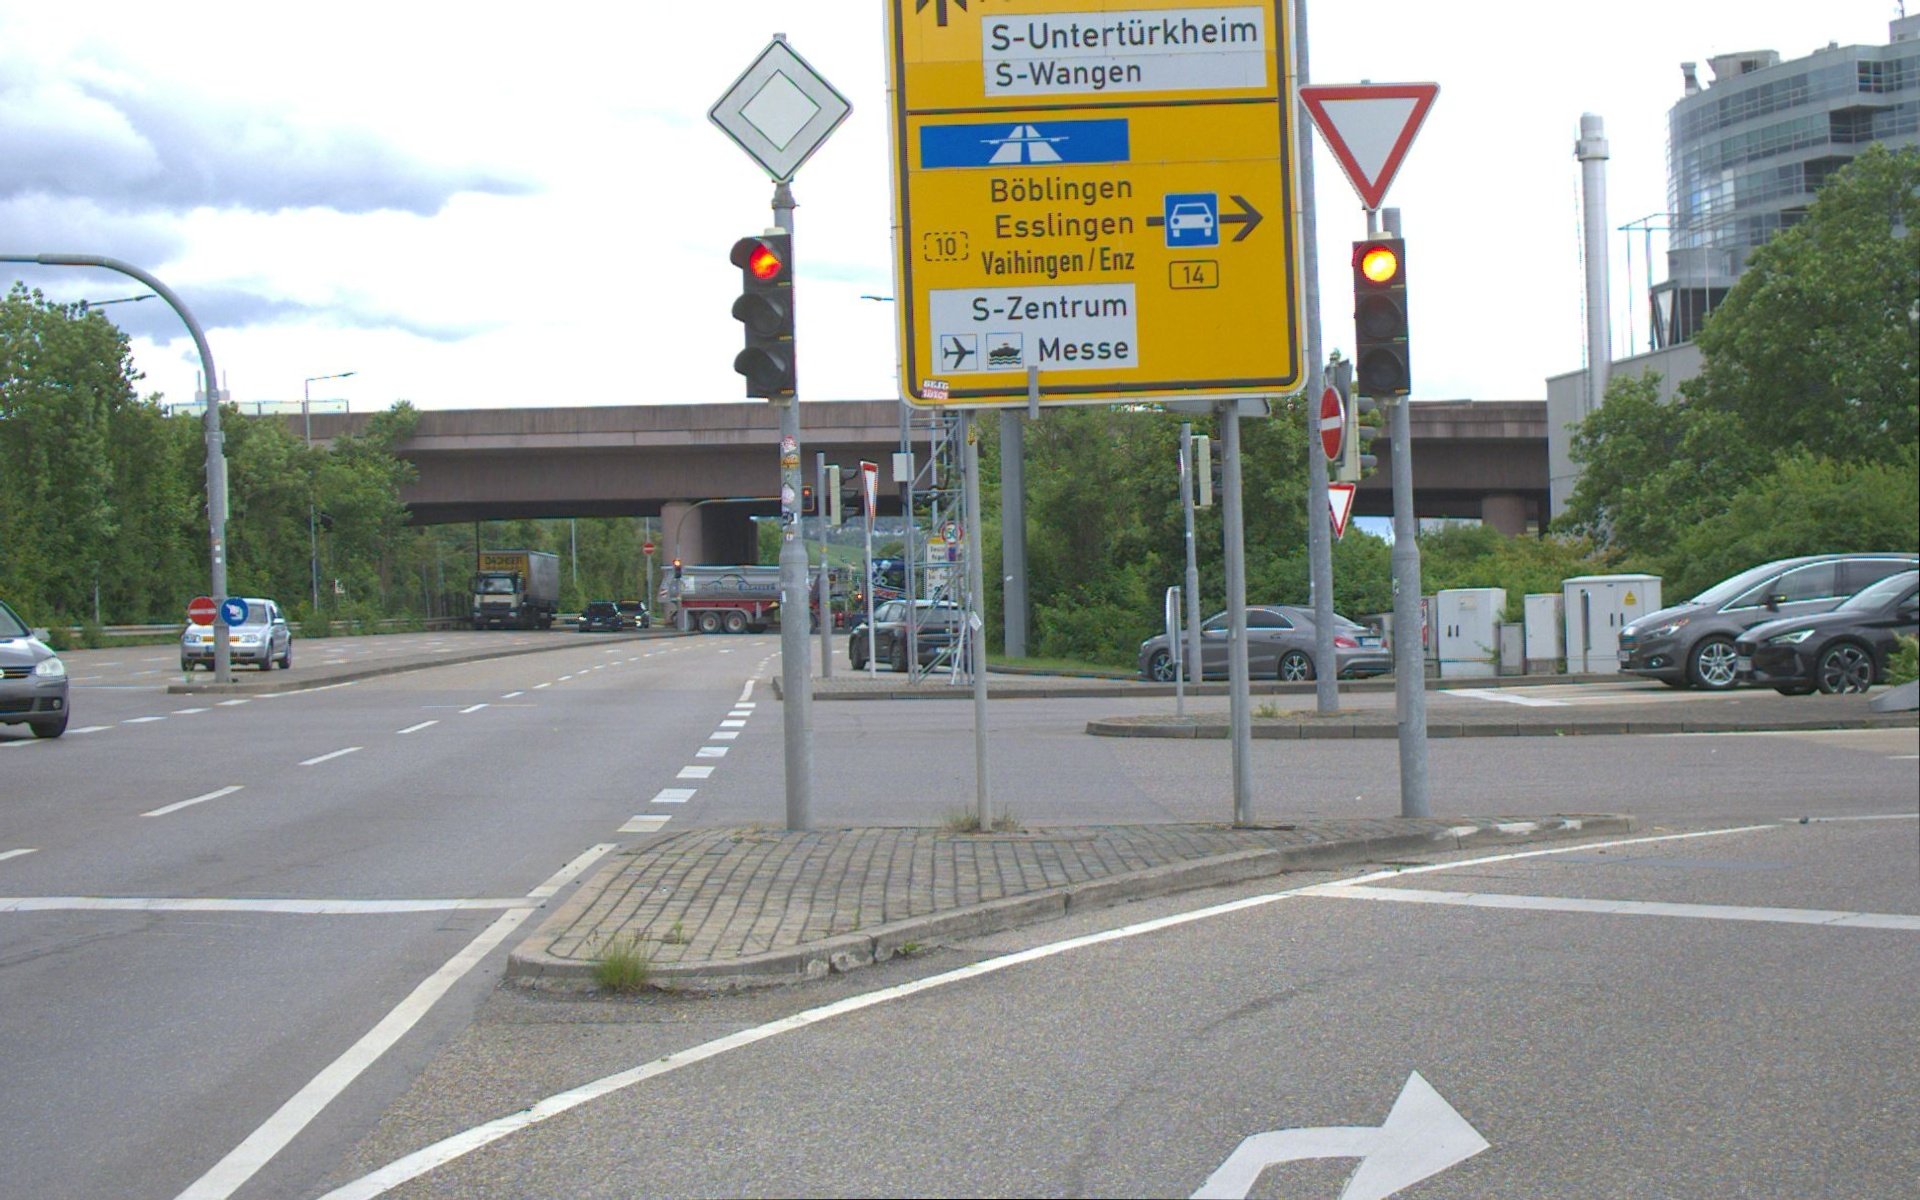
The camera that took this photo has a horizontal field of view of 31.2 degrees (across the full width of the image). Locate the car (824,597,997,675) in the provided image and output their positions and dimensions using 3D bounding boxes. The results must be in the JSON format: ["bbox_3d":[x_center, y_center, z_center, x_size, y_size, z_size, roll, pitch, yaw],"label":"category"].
[{"bbox_3d":[-1.013,0.746,67.968,1.993,1.459,4.111,1,-2,-24],"label":"car"}]

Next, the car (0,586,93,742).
[{"bbox_3d":[-10.214,0.610,33.930,1.724,1.456,4.243,1,-1,-36],"label":"car"}]

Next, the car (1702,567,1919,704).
[{"bbox_3d":[10.981,0.360,39.015,4.604,1.452,1.956,-1,1,-6],"label":"car"}]

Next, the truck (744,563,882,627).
[{"bbox_3d":[-6.711,-0.235,157.232,5.763,2.615,2.620,3,0,9],"label":"truck"}]

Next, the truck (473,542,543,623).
[{"bbox_3d":[-23.545,-0.945,179.348,2.871,4.070,6.487,1,1,-1],"label":"truck"}]

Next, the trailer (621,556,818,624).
[{"bbox_3d":[-11.044,-0.459,158.139,8.548,2.615,2.608,3,0,17],"label":"trailer"}]

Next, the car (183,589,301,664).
[{"bbox_3d":[-14.337,0.515,68.837,1.724,1.396,4.067,-1,1,-4],"label":"car"}]

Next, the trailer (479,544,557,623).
[{"bbox_3d":[-23.679,-0.944,184.571,2.871,4.070,11.427,1,1,-1],"label":"trailer"}]

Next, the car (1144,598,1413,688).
[{"bbox_3d":[5.326,0.748,57.678,4.106,1.437,1.995,-1,-2,41],"label":"car"}]

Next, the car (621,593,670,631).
[{"bbox_3d":[-16.567,0.640,181.254,1.994,1.853,4.000,2,1,2],"label":"car"}]

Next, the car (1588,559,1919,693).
[{"bbox_3d":[10.421,0.301,43.044,4.678,1.566,1.956,-1,1,-4],"label":"car"}]
